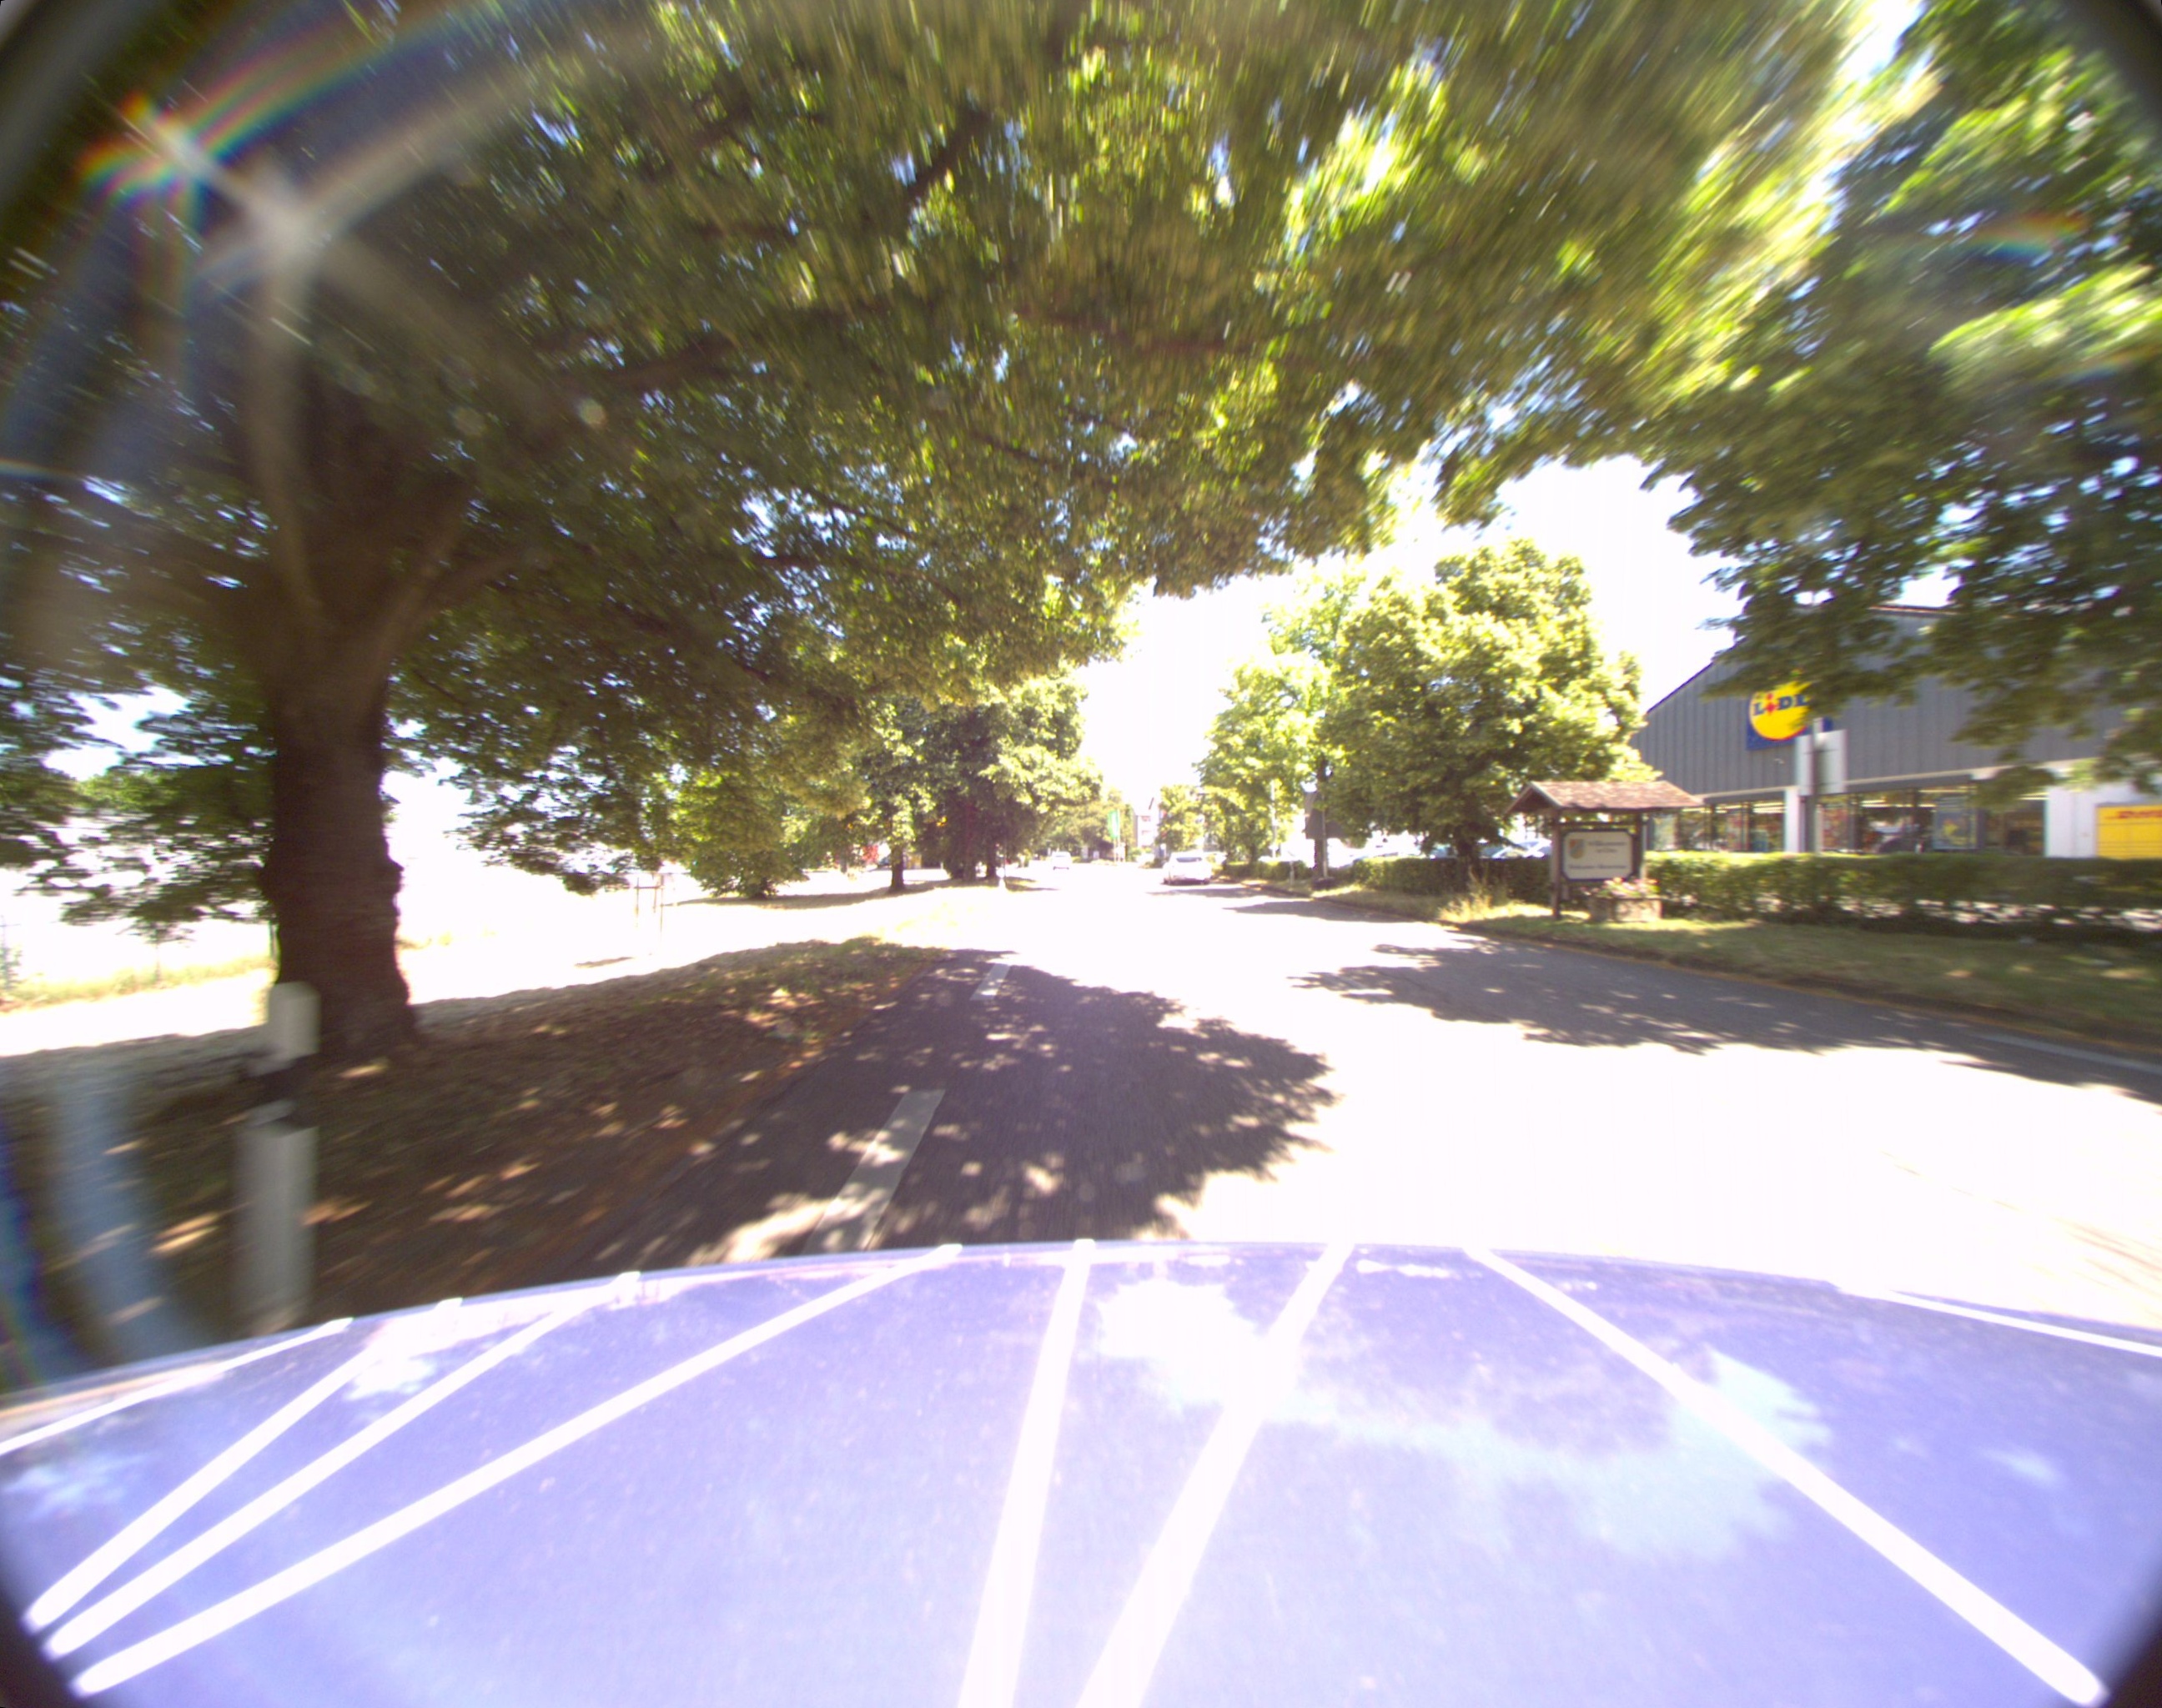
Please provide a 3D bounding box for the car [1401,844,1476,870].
[{"bbox_3d":[25.412,0.198,54.101,4.325,1.646,2.113,-2,1,-6],"label":"car"}]

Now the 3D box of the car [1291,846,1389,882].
[{"bbox_3d":[12.581,0.459,37.065,4.040,1.516,1.933,-3,1,-3],"label":"car"}]

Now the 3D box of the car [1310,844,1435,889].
[{"bbox_3d":[12.061,0.505,31.602,4.413,1.611,1.894,-3,1,-3],"label":"car"}]

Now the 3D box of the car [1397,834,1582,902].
[{"bbox_3d":[12.166,0.389,22.823,4.413,1.766,2.071,-3,1,-3],"label":"car"}]

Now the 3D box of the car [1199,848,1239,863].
[{"bbox_3d":[16.175,0.221,89.176,4.537,1.654,2.002,-1,0,13],"label":"car"}]

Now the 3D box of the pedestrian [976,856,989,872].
[{"bbox_3d":[-8.906,0.899,68.685,0.869,1.413,0.769,-2,1,-43],"label":"pedestrian"}]

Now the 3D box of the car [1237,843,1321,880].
[{"bbox_3d":[11.528,0.417,44.417,4.369,1.969,1.904,-2,1,-4],"label":"car"}]

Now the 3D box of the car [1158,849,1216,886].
[{"bbox_3d":[5.090,0.596,37.100,2.099,1.579,4.474,-3,1,0],"label":"car"}]

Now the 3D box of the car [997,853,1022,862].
[{"bbox_3d":[-12.490,0.650,132.539,4.238,1.525,1.957,0,0,-7],"label":"car"}]

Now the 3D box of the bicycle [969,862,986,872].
[{"bbox_3d":[-9.404,1.186,68.922,1.601,0.907,0.378,-2,1,-43],"label":"bicycle"}]

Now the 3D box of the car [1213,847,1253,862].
[{"bbox_3d":[16.244,0.075,81.366,4.191,1.438,1.981,-1,0,10],"label":"car"}]

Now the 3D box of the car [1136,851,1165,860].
[{"bbox_3d":[11.243,0.221,122.916,4.361,1.430,1.935,-1,1,-28],"label":"car"}]

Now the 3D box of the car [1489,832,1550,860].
[{"bbox_3d":[43.026,-0.799,74.782,2.287,2.612,5.897,-2,1,-3],"label":"car"}]

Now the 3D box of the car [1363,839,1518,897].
[{"bbox_3d":[12.569,0.464,26.752,4.413,1.766,2.071,-3,1,-3],"label":"car"}]

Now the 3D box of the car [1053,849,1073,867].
[{"bbox_3d":[-2.015,0.415,85.021,1.797,1.904,3.637,-1,1,-8],"label":"car"}]
